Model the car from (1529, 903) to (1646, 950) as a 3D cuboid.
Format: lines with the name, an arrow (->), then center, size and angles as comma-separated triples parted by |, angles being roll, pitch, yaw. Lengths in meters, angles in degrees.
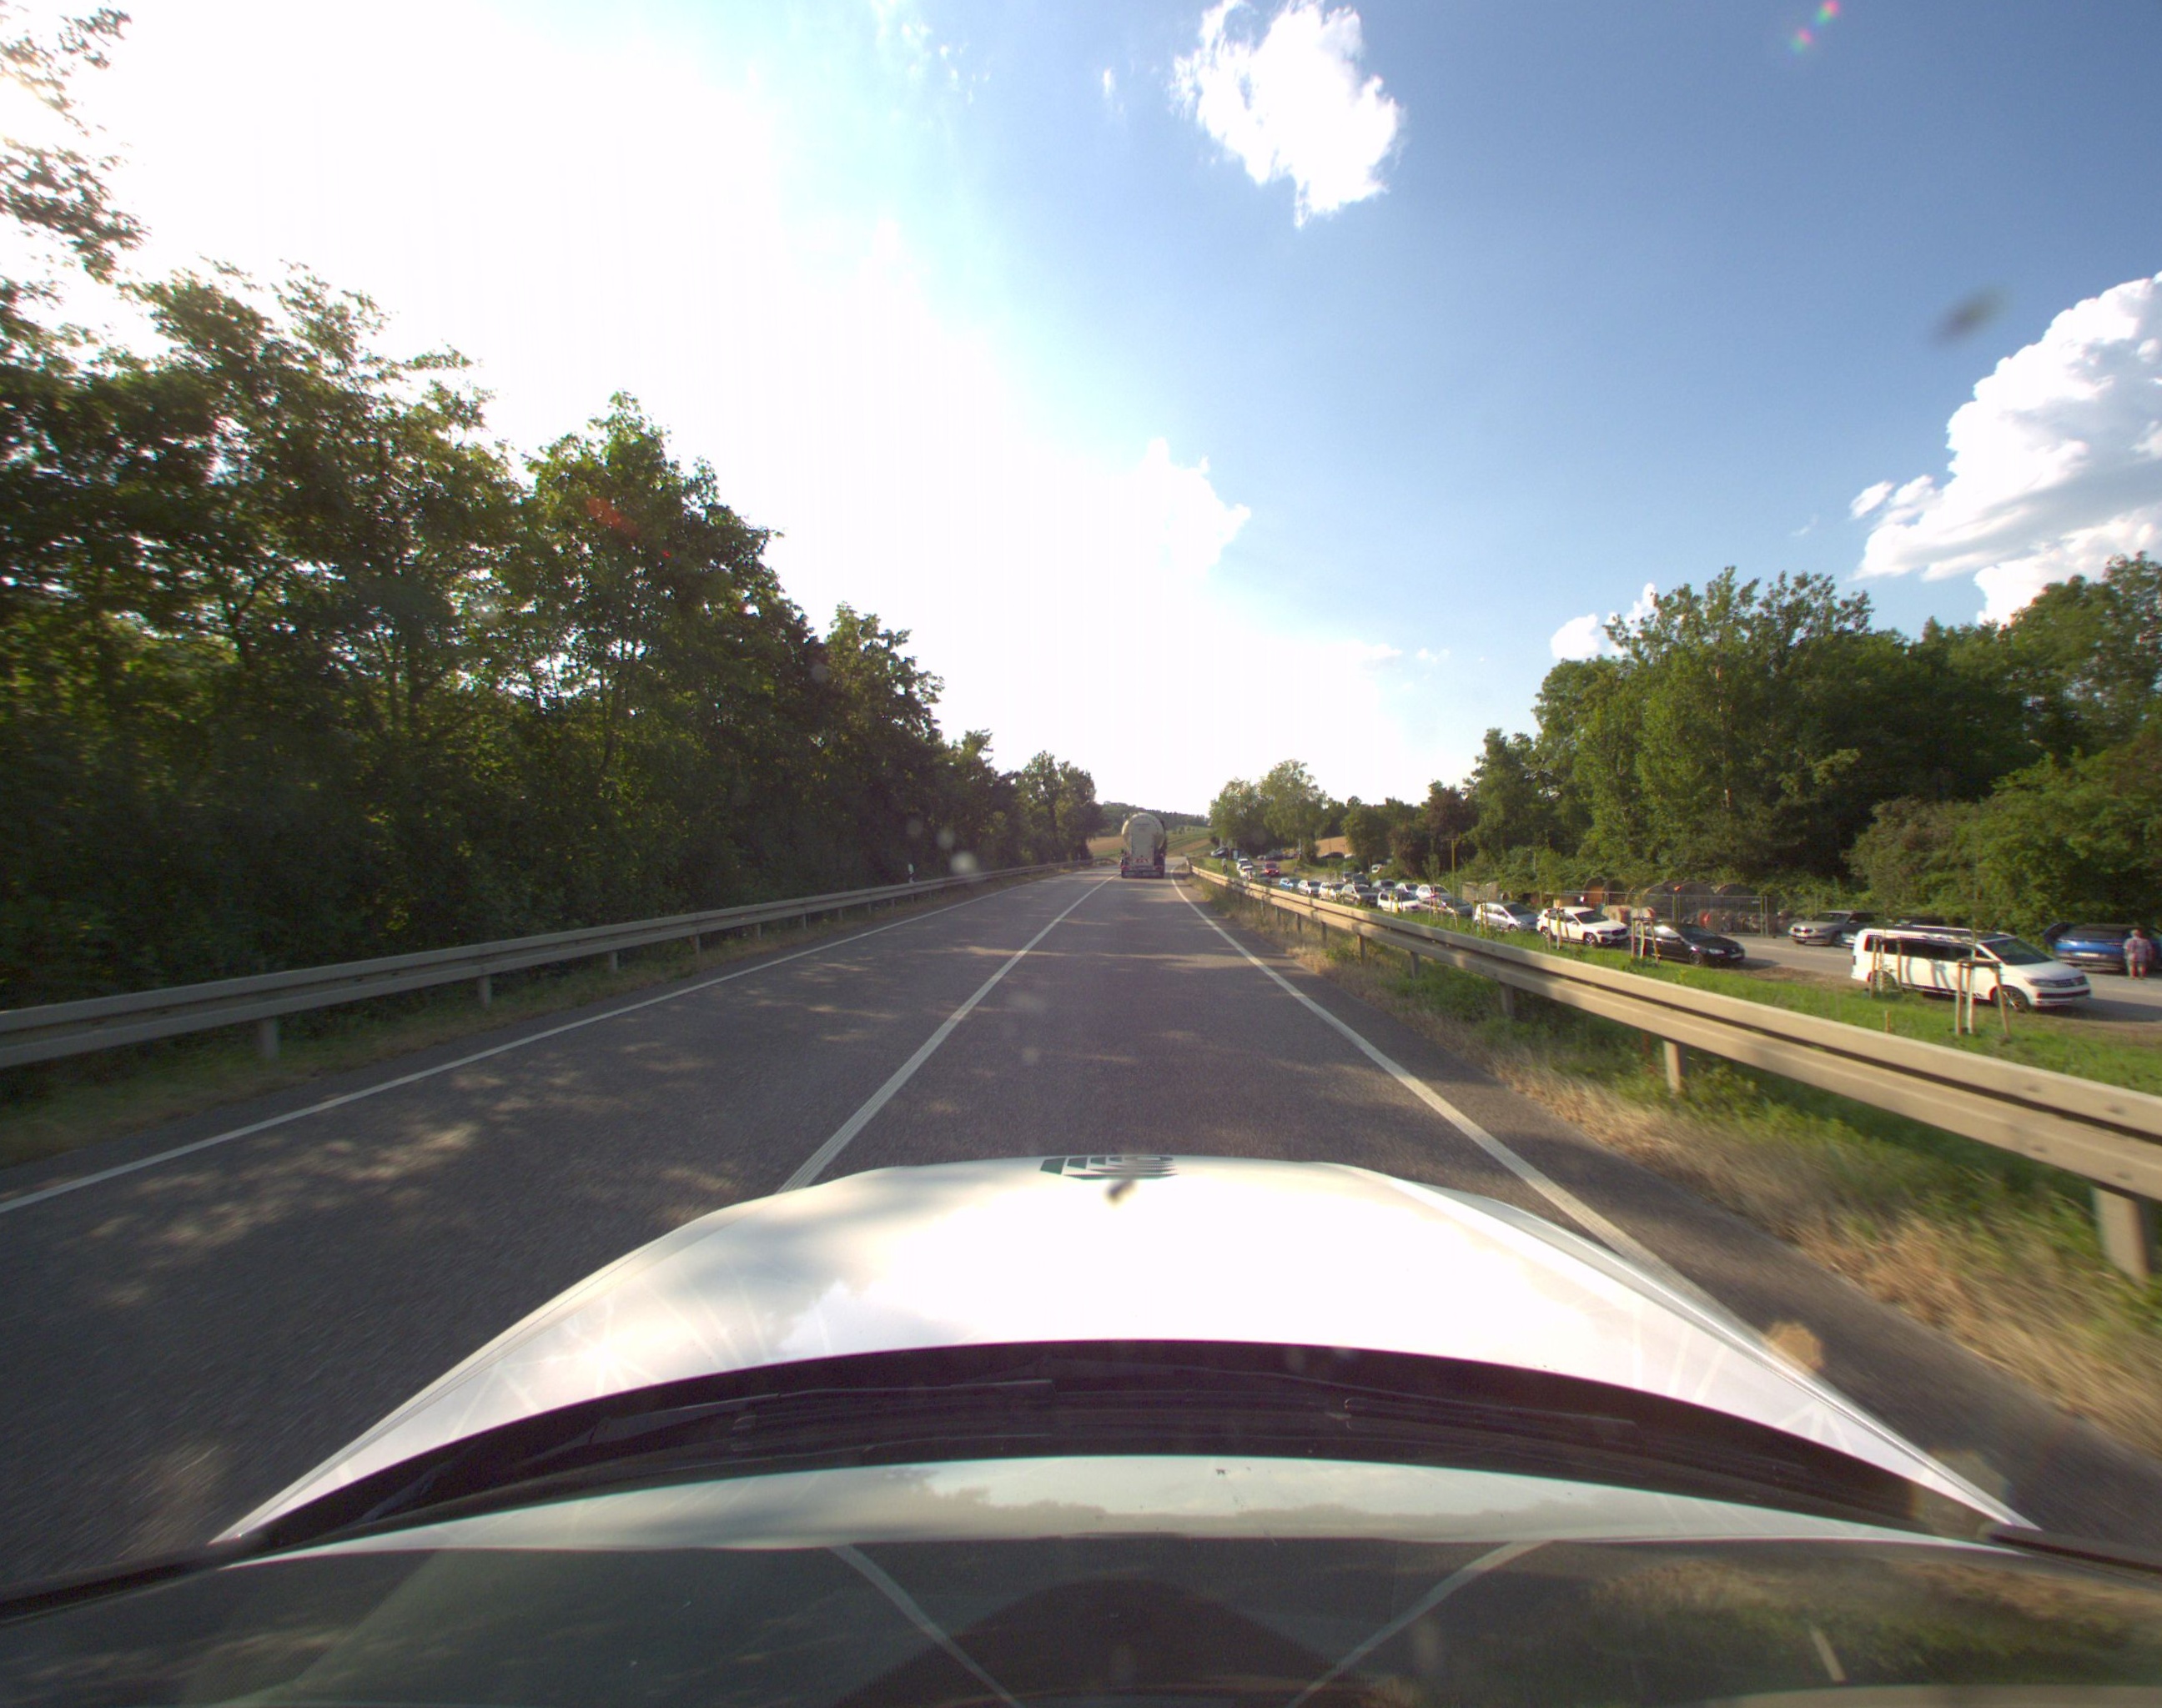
car -> 23.855, 3.359, 38.611 | 1.894, 1.559, 4.763 | -5, 2, -12

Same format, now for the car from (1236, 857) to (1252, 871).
car -> 22.650, 1.405, 112.779 | 1.878, 1.559, 4.801 | -4, 2, 13

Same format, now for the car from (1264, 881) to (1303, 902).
car -> 19.559, 3.577, 78.812 | 1.892, 1.559, 4.768 | -5, 2, -9

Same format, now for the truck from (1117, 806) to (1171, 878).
truck -> 3.927, -0.682, 53.546 | 2.882, 4.142, 13.177 | -1, 0, 2

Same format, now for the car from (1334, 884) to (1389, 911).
car -> 21.315, 3.252, 62.101 | 1.892, 1.559, 4.768 | -5, 2, -9

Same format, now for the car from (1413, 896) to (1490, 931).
car -> 22.554, 3.568, 49.783 | 1.892, 1.559, 4.768 | -5, 2, -9

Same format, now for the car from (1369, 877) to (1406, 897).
car -> 26.924, 2.875, 71.683 | 1.694, 1.398, 4.789 | -4, 0, 3

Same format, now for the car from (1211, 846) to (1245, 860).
car -> 23.610, -0.167, 130.727 | 5.108, 1.943, 1.981 | 4, 2, 10

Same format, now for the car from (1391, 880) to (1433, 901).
car -> 26.920, 2.965, 66.343 | 1.695, 1.398, 3.945 | -4, 0, 0

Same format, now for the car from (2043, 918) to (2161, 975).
car -> 35.839, 3.134, 28.026 | 4.237, 1.604, 1.825 | 0, 0, -13

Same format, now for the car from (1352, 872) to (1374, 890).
car -> 28.185, 2.669, 81.503 | 1.688, 1.398, 4.806 | -4, 0, 16

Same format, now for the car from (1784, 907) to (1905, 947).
car -> 33.554, 3.169, 35.841 | 4.236, 1.489, 1.826 | -1, 0, -12

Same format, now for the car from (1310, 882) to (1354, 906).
car -> 20.869, 3.296, 67.847 | 1.888, 1.559, 4.776 | -3, 1, -4

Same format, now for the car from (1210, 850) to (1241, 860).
car -> 22.509, 0.165, 126.990 | 4.320, 1.399, 1.712 | 2, 2, -17

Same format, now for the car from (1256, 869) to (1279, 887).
car -> 20.706, 2.649, 90.539 | 1.882, 1.559, 4.792 | -4, 2, 6

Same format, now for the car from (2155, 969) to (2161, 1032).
car -> 27.556, 3.519, 17.682 | 1.894, 1.482, 4.763 | -5, 2, -12

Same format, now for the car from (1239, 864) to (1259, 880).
car -> 20.913, 2.197, 101.534 | 1.882, 1.559, 4.792 | -4, 2, 6

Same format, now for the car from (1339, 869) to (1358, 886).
car -> 28.823, 2.529, 87.791 | 1.688, 1.398, 4.119 | -4, 2, 16

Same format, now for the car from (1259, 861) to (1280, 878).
car -> 23.985, 1.939, 103.551 | 1.882, 1.686, 5.096 | -4, 2, 6

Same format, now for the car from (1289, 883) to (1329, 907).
car -> 20.302, 3.631, 72.799 | 1.888, 1.559, 4.776 | -5, 2, -4

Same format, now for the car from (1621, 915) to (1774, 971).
car -> 24.419, 3.469, 32.505 | 1.894, 1.482, 4.763 | -5, 2, -12

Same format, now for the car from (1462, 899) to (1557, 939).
car -> 23.041, 3.454, 44.022 | 1.894, 1.559, 4.763 | -5, 2, -12

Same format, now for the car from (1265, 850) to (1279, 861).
car -> 29.635, 0.201, 126.460 | 1.881, 1.675, 4.794 | 0, -1, 9

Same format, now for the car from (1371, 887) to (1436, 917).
car -> 22.051, 3.240, 55.907 | 1.892, 1.559, 4.768 | -5, 2, -9

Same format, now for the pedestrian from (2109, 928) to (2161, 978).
pedestrian -> 34.192, 3.170, 26.314 | 0.910, 1.471, 0.894 | -3, 1, 32

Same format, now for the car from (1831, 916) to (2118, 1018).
car -> 26.132, 3.183, 24.195 | 2.121, 2.017, 5.357 | -5, 2, -12

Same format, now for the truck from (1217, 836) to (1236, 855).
truck -> 33.282, -2.001, 185.497 | 3.160, 4.227, 13.224 | -2, 1, 14
